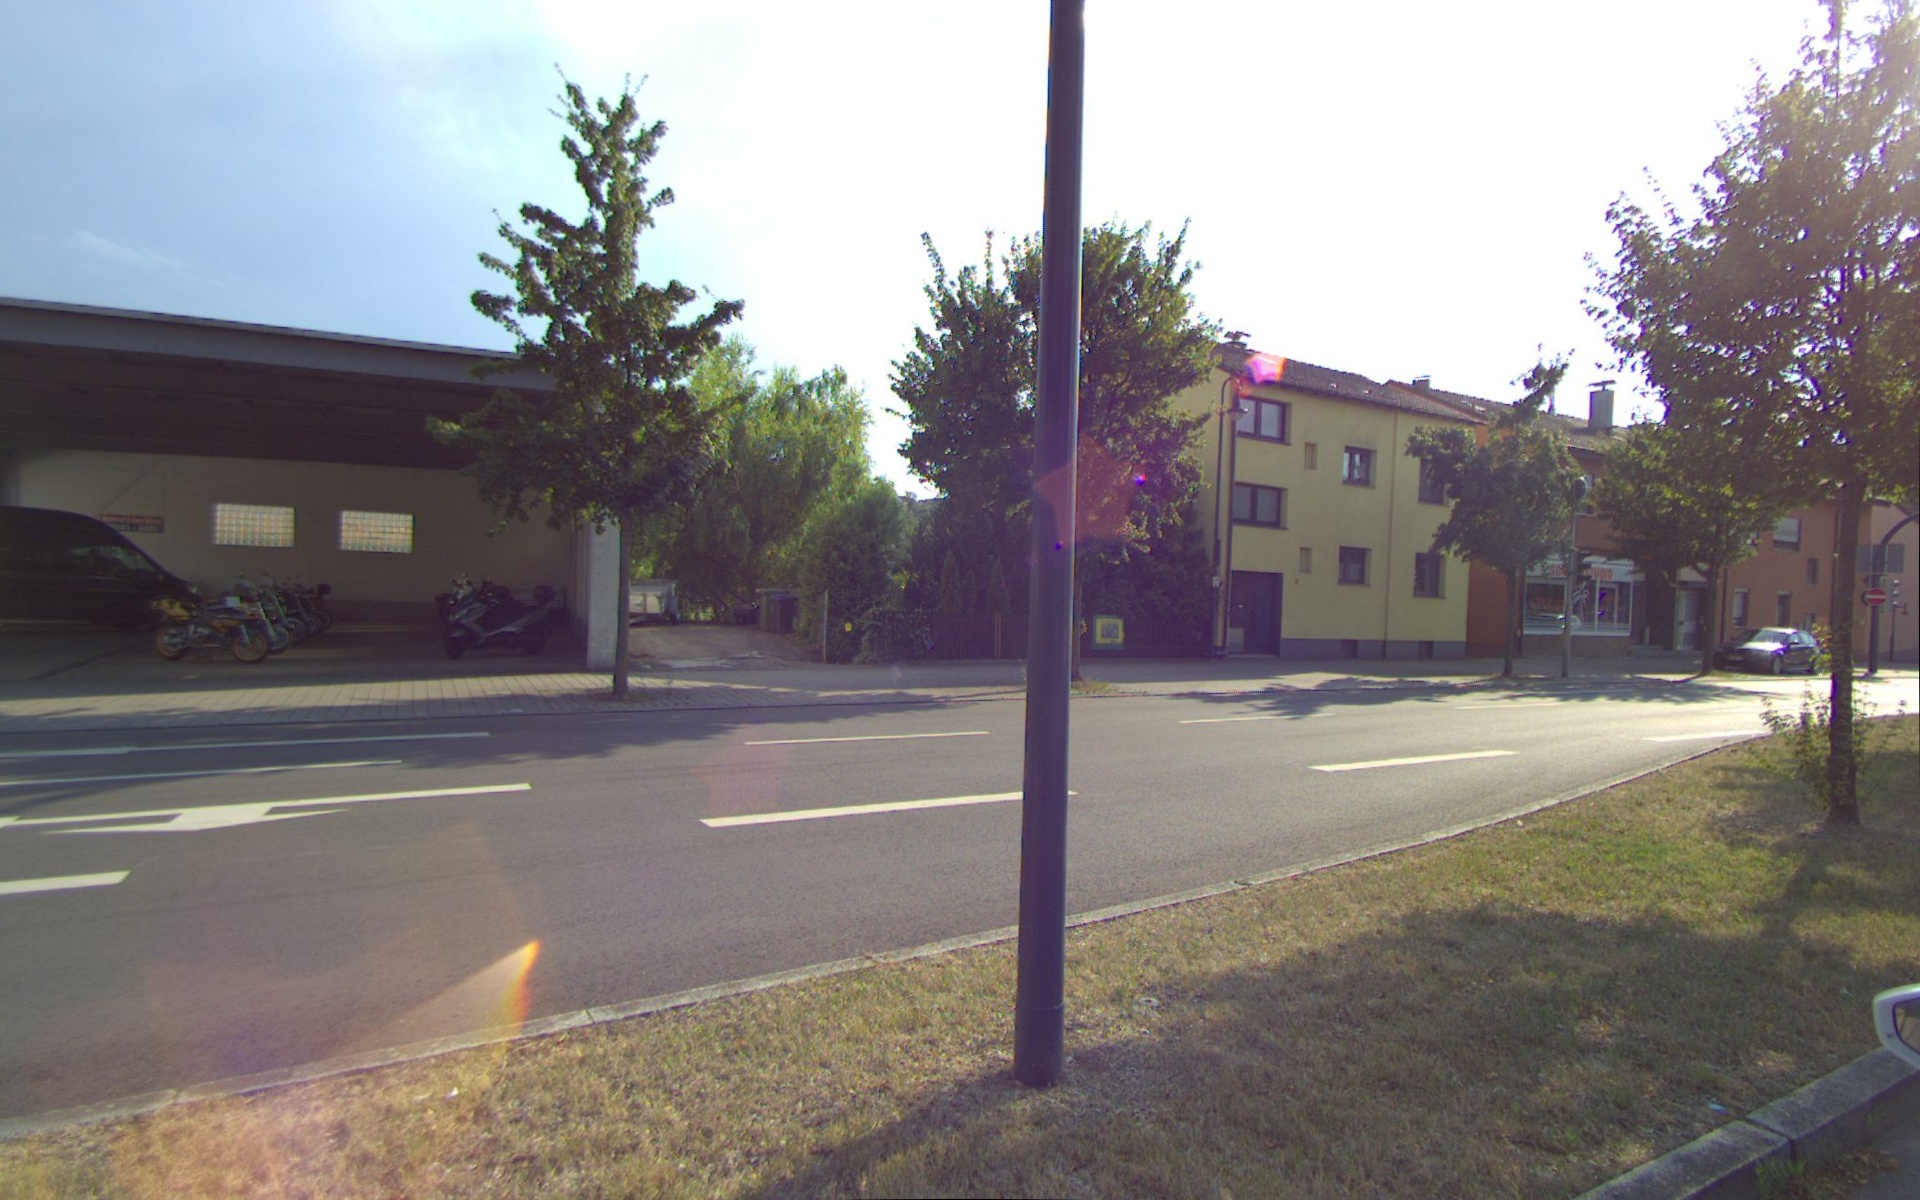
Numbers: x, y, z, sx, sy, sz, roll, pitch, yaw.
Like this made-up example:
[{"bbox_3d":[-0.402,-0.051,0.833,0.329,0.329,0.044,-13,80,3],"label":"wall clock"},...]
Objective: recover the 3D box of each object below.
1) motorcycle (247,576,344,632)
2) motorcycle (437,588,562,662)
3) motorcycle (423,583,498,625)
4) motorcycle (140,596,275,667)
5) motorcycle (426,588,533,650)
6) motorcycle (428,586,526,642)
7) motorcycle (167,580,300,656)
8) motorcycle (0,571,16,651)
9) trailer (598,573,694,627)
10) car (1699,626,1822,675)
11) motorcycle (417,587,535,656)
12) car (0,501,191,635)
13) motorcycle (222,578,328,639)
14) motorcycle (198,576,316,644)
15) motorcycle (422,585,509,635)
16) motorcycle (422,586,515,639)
[{"bbox_3d":[-16.913,0.107,25.569,2.219,1.354,0.631,1,0,10],"label":"motorcycle"},{"bbox_3d":[-8.623,0.433,18.894,0.621,1.314,2.113,1,2,36],"label":"motorcycle"},{"bbox_3d":[-15.964,0.106,32.173,0.621,1.314,2.113,1,2,36],"label":"motorcycle"},{"bbox_3d":[-12.500,0.507,16.694,1.993,1.101,0.631,1,0,12],"label":"motorcycle"},{"bbox_3d":[-10.746,0.387,22.534,0.621,1.314,2.113,1,2,36],"label":"motorcycle"},{"bbox_3d":[-11.771,0.316,24.534,0.621,1.314,2.113,1,2,36],"label":"motorcycle"},{"bbox_3d":[-13.636,0.323,18.858,2.219,1.354,0.631,1,0,10],"label":"motorcycle"},{"bbox_3d":[-17.291,0.173,16.721,0.619,1.380,2.225,1,0,24],"label":"motorcycle"},{"bbox_3d":[-8.221,-0.003,26.615,1.698,1.280,3.995,1,0,-7],"label":"trailer"},{"bbox_3d":[25.965,1.597,32.554,3.953,1.319,1.728,1,4,-30],"label":"car"},{"bbox_3d":[-9.816,0.405,20.456,0.621,1.314,2.113,1,2,36],"label":"motorcycle"},{"bbox_3d":[-20.456,-0.677,22.088,1.962,2.789,5.280,1,0,26],"label":"car"},{"bbox_3d":[-15.888,0.186,23.310,2.219,1.354,0.631,1,0,10],"label":"motorcycle"},{"bbox_3d":[-14.757,0.209,21.101,2.219,1.354,0.631,1,0,10],"label":"motorcycle"},{"bbox_3d":[-13.517,0.244,27.515,0.621,1.314,2.113,1,2,36],"label":"motorcycle"},{"bbox_3d":[-12.653,0.296,25.917,0.621,1.314,2.113,1,2,36],"label":"motorcycle"}]
